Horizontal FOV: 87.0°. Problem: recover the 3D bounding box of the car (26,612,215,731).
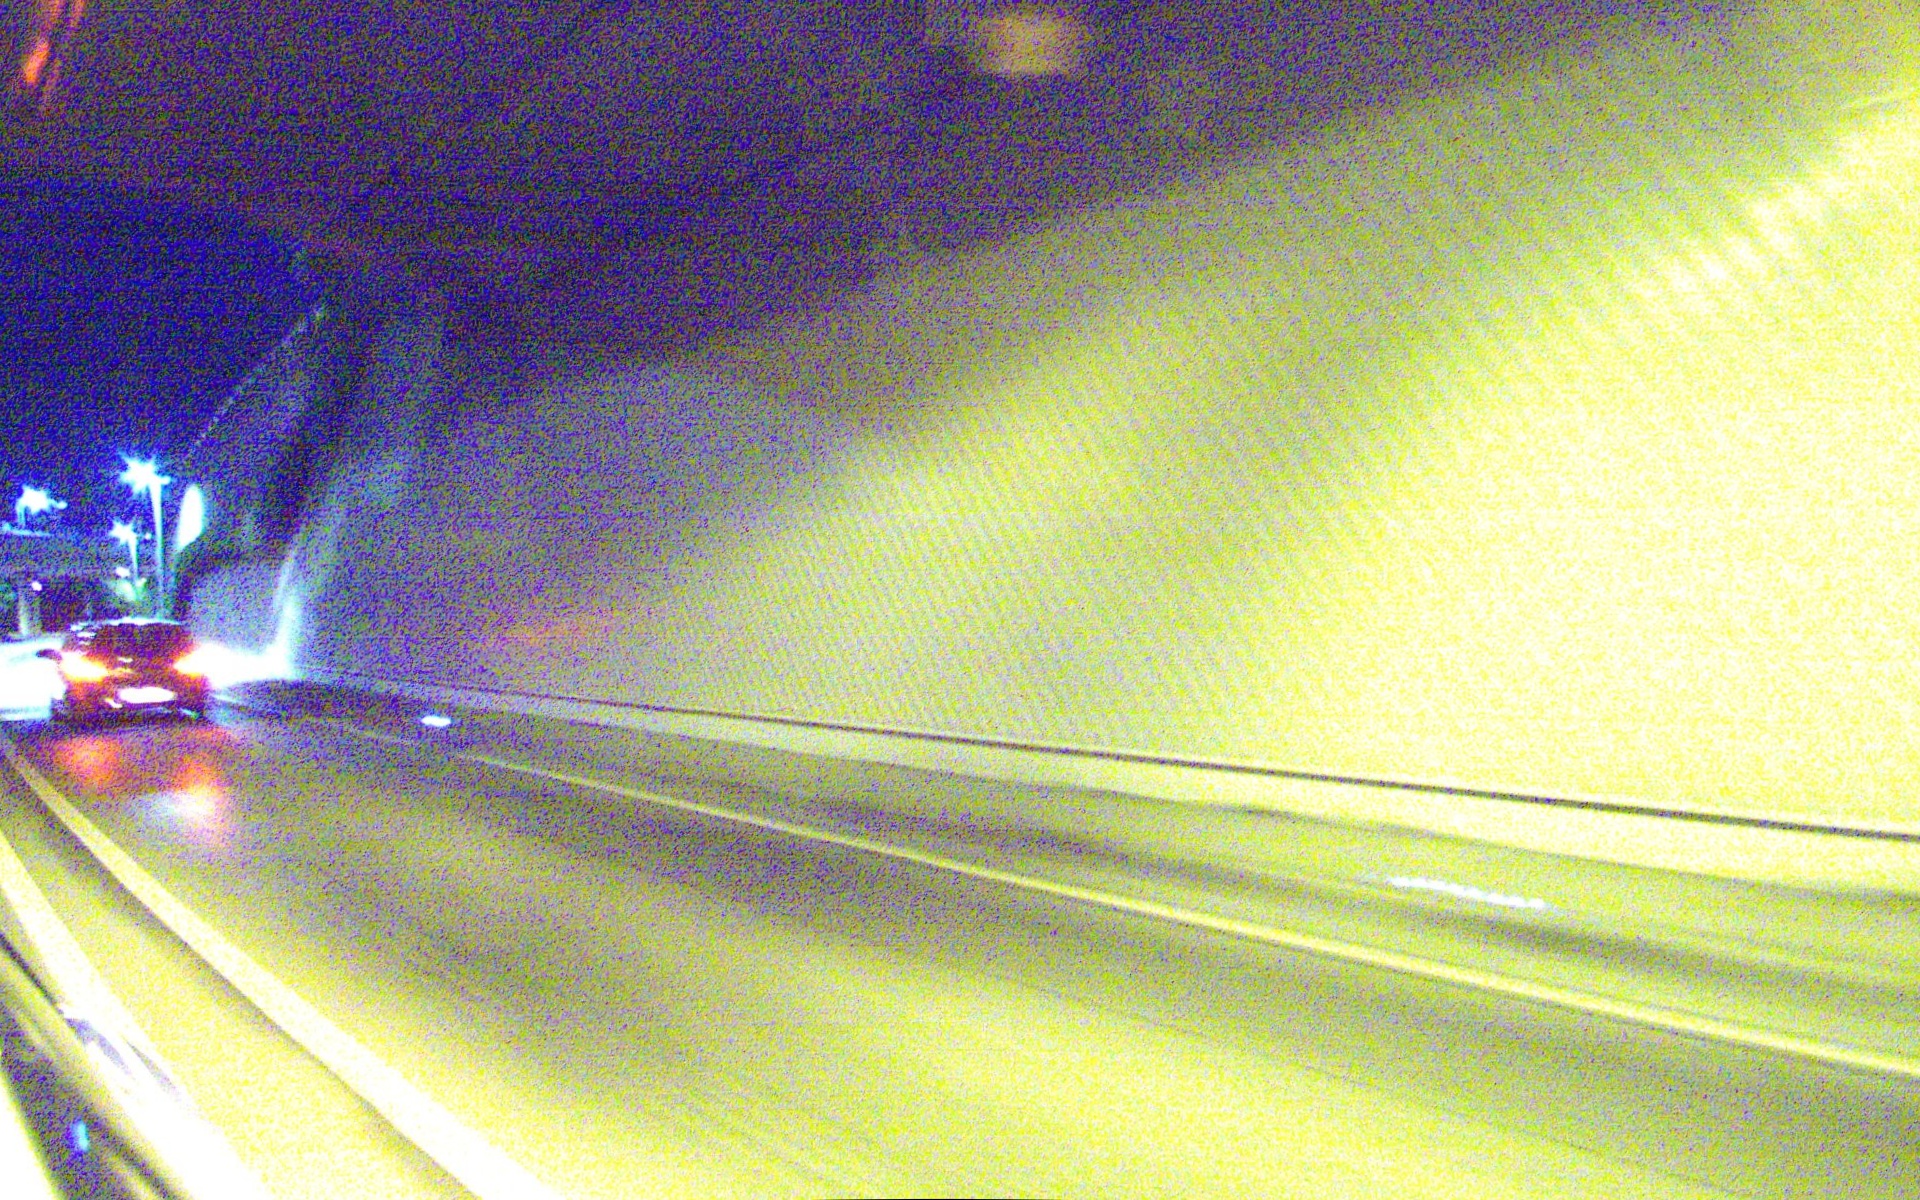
[{"bbox_3d":[-12.523,0.940,14.992,4.395,1.453,1.697,-1,1,45],"label":"car"}]
